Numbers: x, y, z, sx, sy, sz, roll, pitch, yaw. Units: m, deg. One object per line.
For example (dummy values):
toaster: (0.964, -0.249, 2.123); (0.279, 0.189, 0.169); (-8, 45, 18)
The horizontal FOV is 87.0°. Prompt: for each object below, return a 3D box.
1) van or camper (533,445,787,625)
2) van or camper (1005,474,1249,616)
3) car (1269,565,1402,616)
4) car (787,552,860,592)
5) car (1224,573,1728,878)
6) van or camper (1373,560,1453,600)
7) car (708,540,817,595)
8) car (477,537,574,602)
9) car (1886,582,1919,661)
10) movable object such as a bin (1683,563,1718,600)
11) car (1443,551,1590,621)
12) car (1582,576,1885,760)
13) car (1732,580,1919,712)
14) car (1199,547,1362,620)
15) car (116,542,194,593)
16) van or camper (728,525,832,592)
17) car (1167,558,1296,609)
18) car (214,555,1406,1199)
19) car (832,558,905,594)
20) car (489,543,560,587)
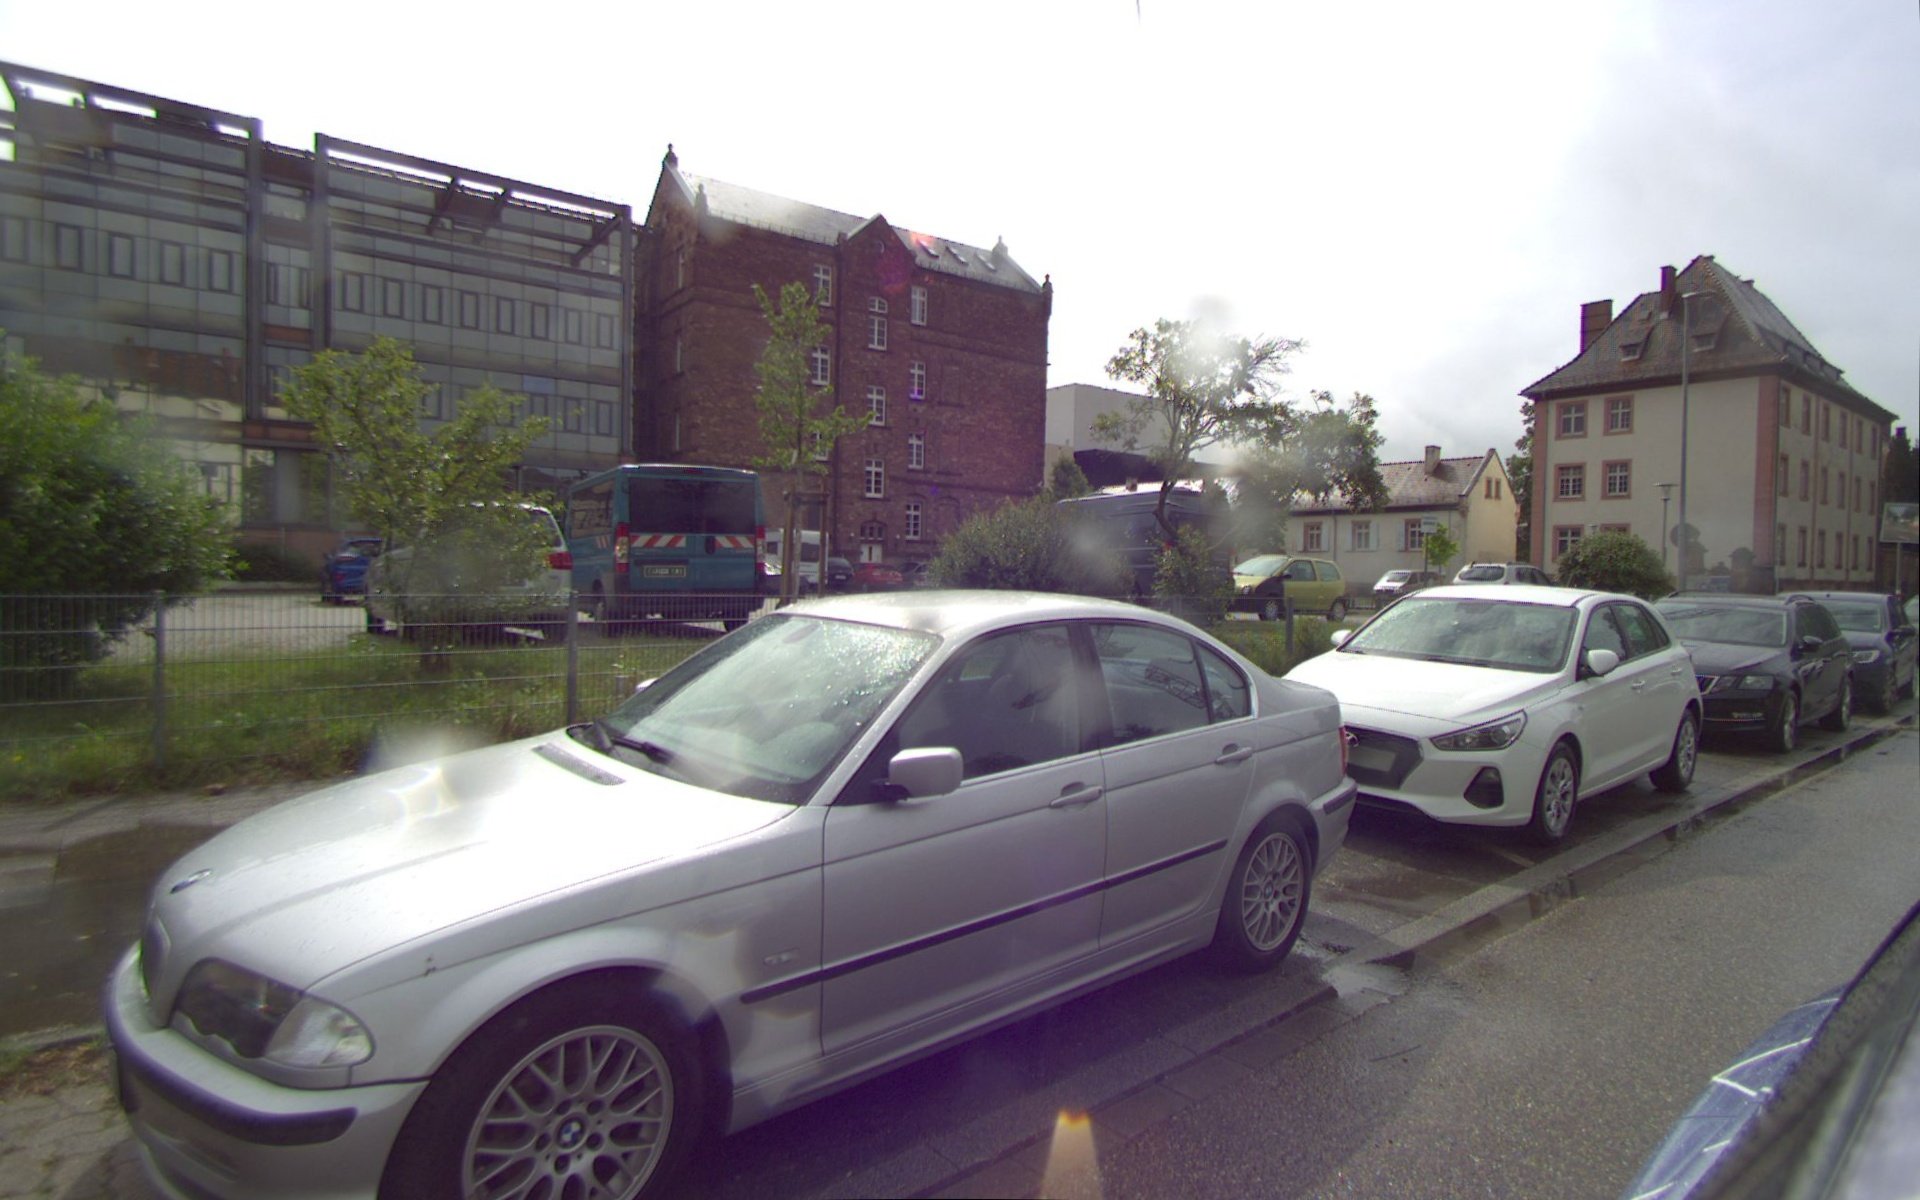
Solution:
van or camper: (-4.547, -0.848, 14.742); (2.276, 2.158, 4.778); (1, 1, -33)
van or camper: (3.315, -1.094, 21.134); (2.134, 2.586, 5.016); (-1, 2, -35)
car: (12.416, -0.321, 33.368); (4.336, 1.545, 1.837); (0, 2, -32)
car: (-5.941, -1.227, 43.739); (1.641, 1.596, 3.680); (0, 2, -35)
car: (3.780, 0.608, 7.101); (4.040, 1.527, 1.752); (0, 2, -41)
van or camper: (25.380, -1.081, 56.691); (5.088, 2.143, 1.794); (0, 0, -36)
car: (-5.834, -0.977, 29.601); (1.641, 1.483, 3.989); (0, 3, -35)
car: (-10.917, -0.791, 25.314); (1.607, 1.504, 3.681); (0, 2, -33)
car: (21.107, 0.464, 21.213); (4.299, 1.558, 1.779); (0, 4, -39)
movable object such as a bin: (30.576, -0.756, 41.780); (1.076, 1.475, 0.802); (0, 3, -36)
car: (15.244, -0.385, 27.663); (4.157, 1.771, 1.810); (0, 2, -35)
car: (8.335, 0.555, 10.785); (4.086, 1.526, 1.609); (-1, 4, -39)
car: (12.519, 0.520, 14.125); (3.926, 1.546, 1.762); (-1, 3, -37)
car: (6.989, -0.370, 21.994); (3.351, 1.466, 1.617); (0, 2, -34)
car: (-24.038, -0.964, 30.313); (1.585, 1.429, 3.679); (0, 2, -35)
van or camper: (-7.401, -1.607, 41.207); (2.216, 2.517, 4.799); (-1, 1, -37)
car: (9.598, -0.588, 35.714); (4.335, 1.699, 1.861); (0, 2, -31)
car: (-0.122, 0.636, 3.791); (4.186, 1.471, 1.719); (-1, 1, -42)
car: (-4.129, -1.046, 45.107); (1.641, 1.505, 3.678); (0, 0, -35)
car: (-15.666, -1.259, 36.353); (1.641, 1.505, 3.679); (0, 2, -35)
